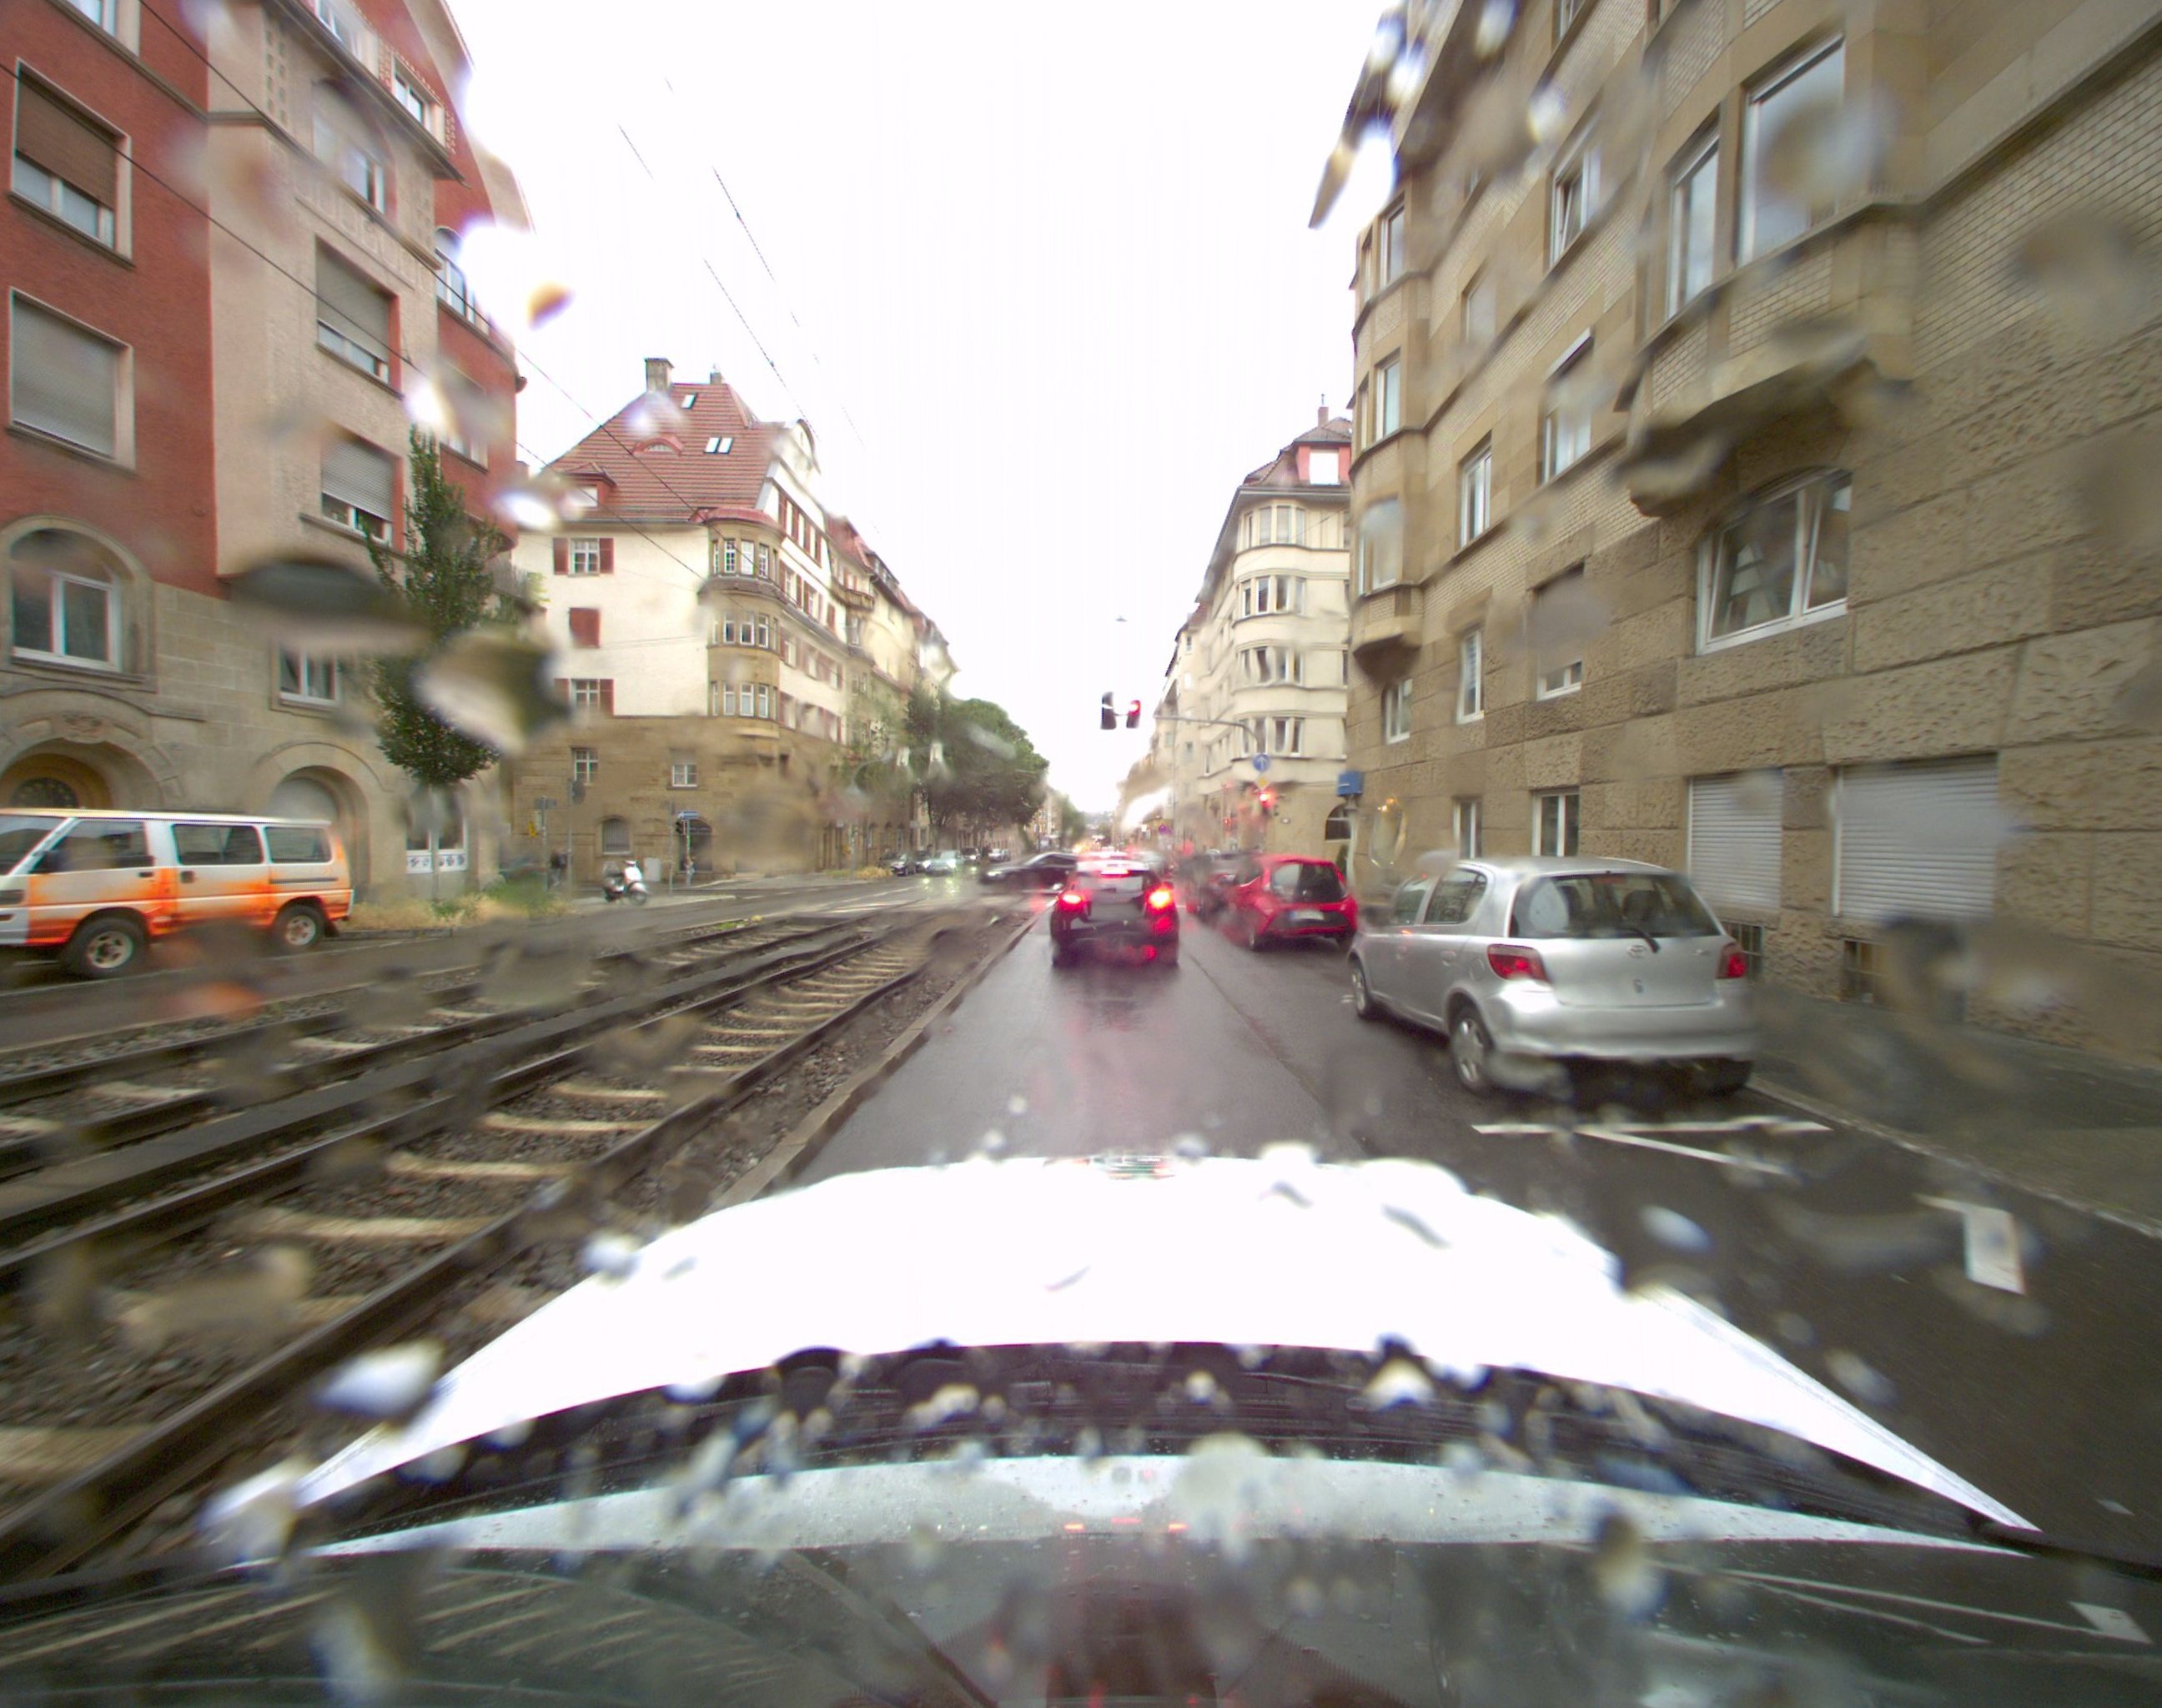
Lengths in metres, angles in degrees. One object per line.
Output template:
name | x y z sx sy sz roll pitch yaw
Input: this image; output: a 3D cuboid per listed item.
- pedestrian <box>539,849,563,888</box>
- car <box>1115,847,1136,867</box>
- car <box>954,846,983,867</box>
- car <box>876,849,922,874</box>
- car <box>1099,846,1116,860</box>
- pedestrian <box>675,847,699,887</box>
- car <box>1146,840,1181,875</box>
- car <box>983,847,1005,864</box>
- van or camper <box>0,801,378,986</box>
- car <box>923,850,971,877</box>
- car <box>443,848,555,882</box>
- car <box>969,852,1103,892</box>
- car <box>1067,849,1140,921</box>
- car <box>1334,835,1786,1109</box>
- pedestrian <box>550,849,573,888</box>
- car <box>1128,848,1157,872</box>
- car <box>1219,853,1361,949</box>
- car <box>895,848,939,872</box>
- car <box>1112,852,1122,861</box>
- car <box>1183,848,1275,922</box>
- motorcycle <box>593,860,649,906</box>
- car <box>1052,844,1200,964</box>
pedestrian | -23.759 0.652 36.510 0.605 1.733 0.643 0 0 2
car | 4.051 0.314 74.150 1.846 1.797 3.813 -1 -1 2
car | -10.350 0.223 75.335 1.986 1.794 4.002 1 0 2
car | -10.943 0.455 49.275 1.765 1.464 4.001 -1 0 2
car | 3.237 -0.111 98.092 1.913 1.655 4.003 1 0 3
pedestrian | -17.618 0.580 36.386 0.605 1.733 0.865 0 0 2
car | 5.047 0.235 50.379 1.891 2.028 4.177 -1 -1 2
car | -9.869 0.158 92.801 1.986 1.794 4.002 1 0 2
van or camper | -12.141 0.390 10.529 1.987 1.901 4.698 1 0 0
car | -7.975 0.544 48.813 1.785 1.548 4.009 0 0 8
car | -24.238 0.442 33.986 3.605 1.311 1.563 1 0 3
car | -1.592 0.615 28.613 4.284 1.288 1.985 1 0 -23
car | 0.551 0.657 19.400 1.530 1.510 4.002 1 0 2
car | 3.275 0.670 6.395 1.631 1.543 3.468 1 0 2
pedestrian | -23.805 0.659 37.355 0.605 1.733 0.643 0 0 2
car | 4.643 0.457 62.268 1.764 1.776 3.996 0 -1 -2
car | 3.390 0.700 13.717 1.597 1.419 3.148 0 0 0
car | -10.947 0.402 54.600 1.986 1.517 4.002 0 0 2
car | 6.640 0.437 150.635 1.902 1.706 4.002 0 0 2
car | 3.348 0.646 19.059 1.543 1.508 4.002 1 0 2
motorcycle | -11.882 0.720 21.016 1.423 1.134 0.624 1 0 31
car | 0.608 0.678 12.549 1.939 1.564 3.642 -1 -1 0
